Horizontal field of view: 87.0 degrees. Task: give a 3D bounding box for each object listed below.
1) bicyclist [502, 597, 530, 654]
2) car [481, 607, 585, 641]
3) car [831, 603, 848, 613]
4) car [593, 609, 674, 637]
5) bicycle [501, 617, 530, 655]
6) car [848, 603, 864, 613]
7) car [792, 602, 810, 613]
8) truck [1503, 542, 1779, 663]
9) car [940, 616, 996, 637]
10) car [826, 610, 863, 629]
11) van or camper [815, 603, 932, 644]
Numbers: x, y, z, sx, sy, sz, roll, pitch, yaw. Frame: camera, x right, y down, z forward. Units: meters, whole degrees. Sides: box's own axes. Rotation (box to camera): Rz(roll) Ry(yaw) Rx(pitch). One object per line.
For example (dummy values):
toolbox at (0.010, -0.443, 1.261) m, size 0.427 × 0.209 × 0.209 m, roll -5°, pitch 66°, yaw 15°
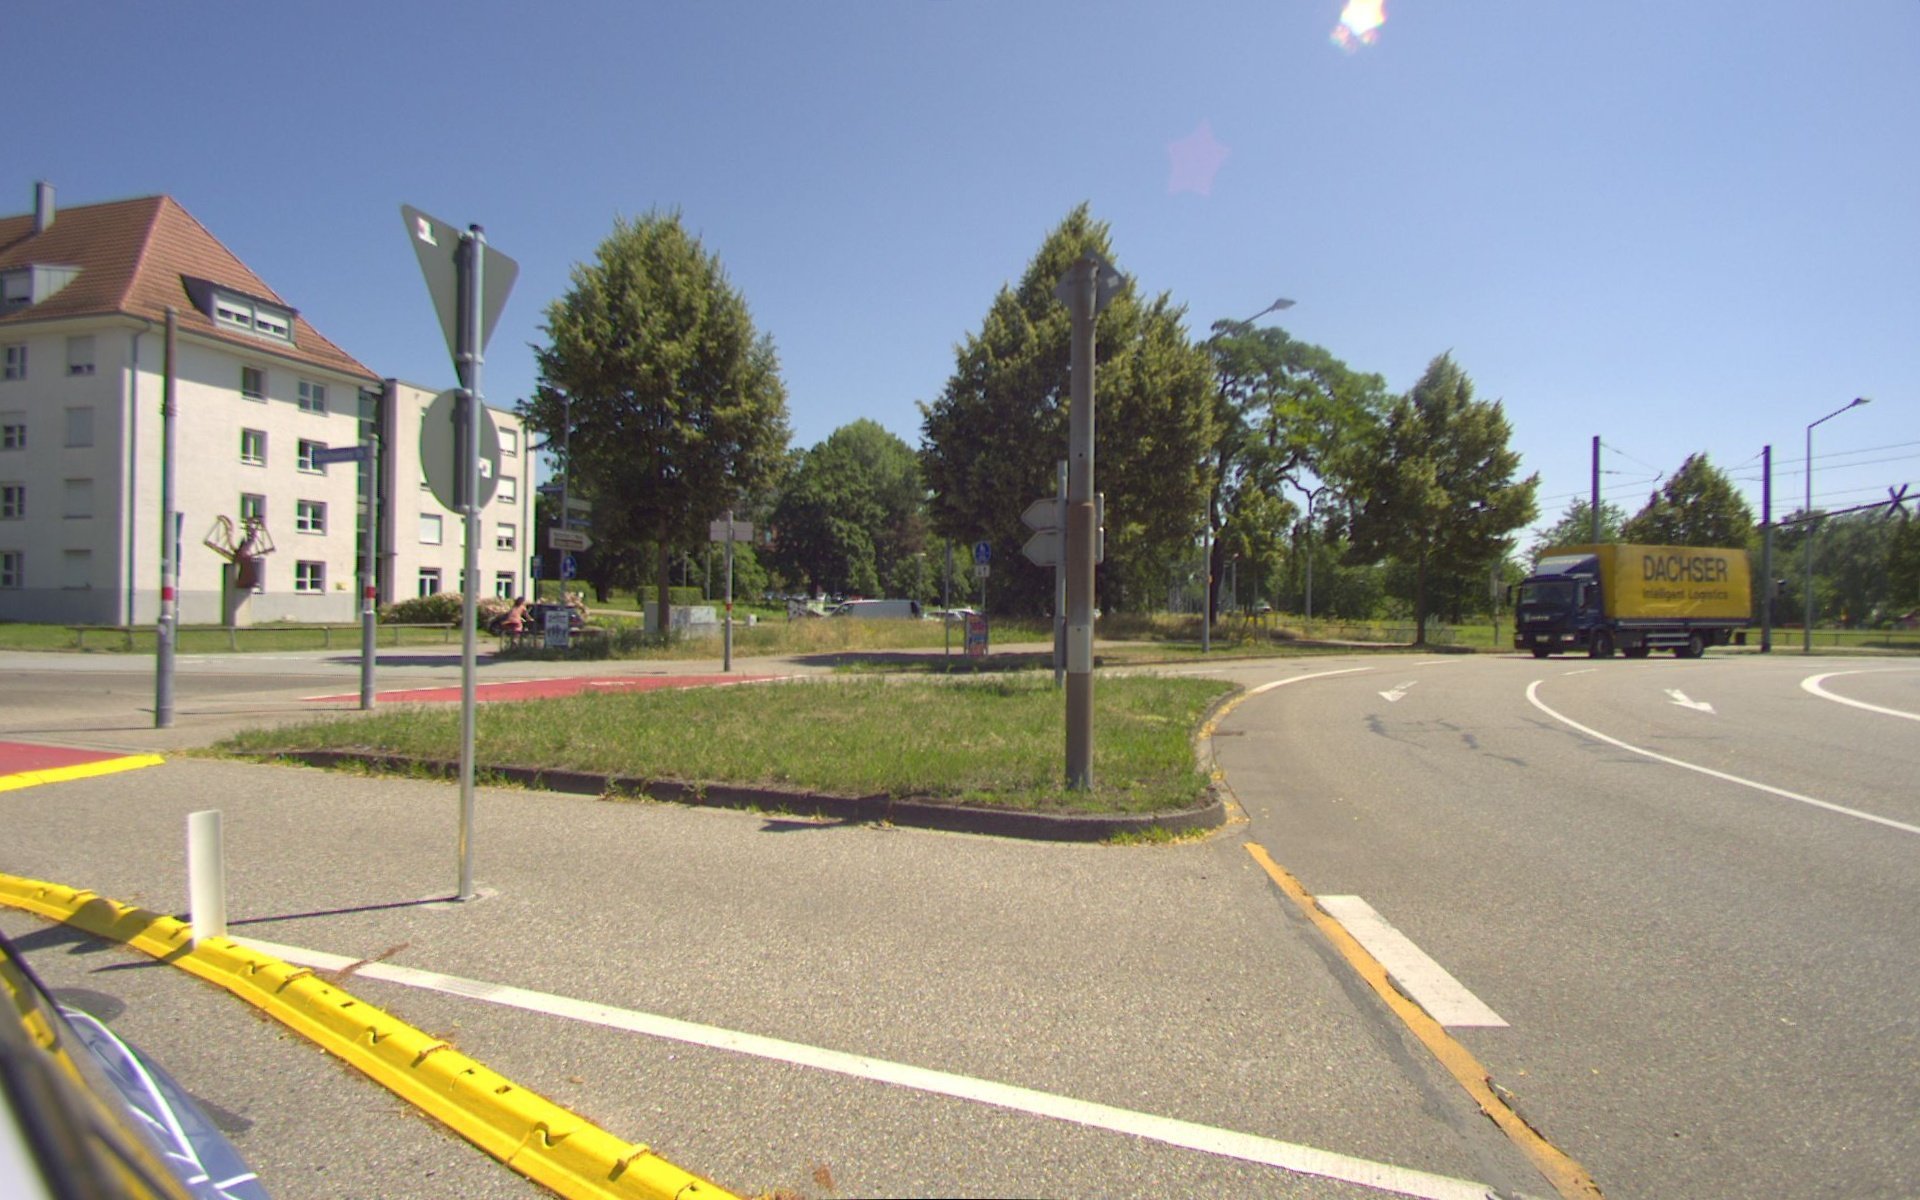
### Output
bicyclist at (-13.332, 0.766, 30.415) m, size 0.635 × 1.677 × 0.712 m, roll -2°, pitch -3°, yaw -13°
car at (-17.693, 0.976, 41.967) m, size 3.774 × 1.337 × 1.651 m, roll 0°, pitch -1°, yaw 17°
car at (-16.601, 1.074, 139.286) m, size 1.463 × 1.427 × 3.017 m, roll 0°, pitch -1°, yaw 11°
car at (-15.325, 1.072, 47.546) m, size 3.483 × 1.226 × 1.349 m, roll 0°, pitch -1°, yaw 17°
bicycle at (-13.311, 1.097, 30.323) m, size 0.432 × 1.066 × 2.093 m, roll -1°, pitch -3°, yaw -14°
car at (-14.240, 1.091, 138.646) m, size 1.463 × 1.427 × 3.017 m, roll 0°, pitch -1°, yaw 11°
car at (-22.002, 1.022, 140.035) m, size 1.463 × 1.427 × 3.017 m, roll 0°, pitch -1°, yaw 11°
truck at (22.748, 0.136, 33.720) m, size 9.449 × 3.686 × 2.716 m, roll 1°, pitch -1°, yaw -21°
car at (0.491, 1.680, 64.785) m, size 3.361 × 1.291 × 1.346 m, roll 0°, pitch -1°, yaw 24°
car at (-8.553, 1.432, 74.638) m, size 2.512 × 1.368 × 1.075 m, roll 0°, pitch -1°, yaw 23°
van or camper at (-4.098, 1.089, 48.331) m, size 5.224 × 1.871 × 1.990 m, roll 0°, pitch -1°, yaw 16°
